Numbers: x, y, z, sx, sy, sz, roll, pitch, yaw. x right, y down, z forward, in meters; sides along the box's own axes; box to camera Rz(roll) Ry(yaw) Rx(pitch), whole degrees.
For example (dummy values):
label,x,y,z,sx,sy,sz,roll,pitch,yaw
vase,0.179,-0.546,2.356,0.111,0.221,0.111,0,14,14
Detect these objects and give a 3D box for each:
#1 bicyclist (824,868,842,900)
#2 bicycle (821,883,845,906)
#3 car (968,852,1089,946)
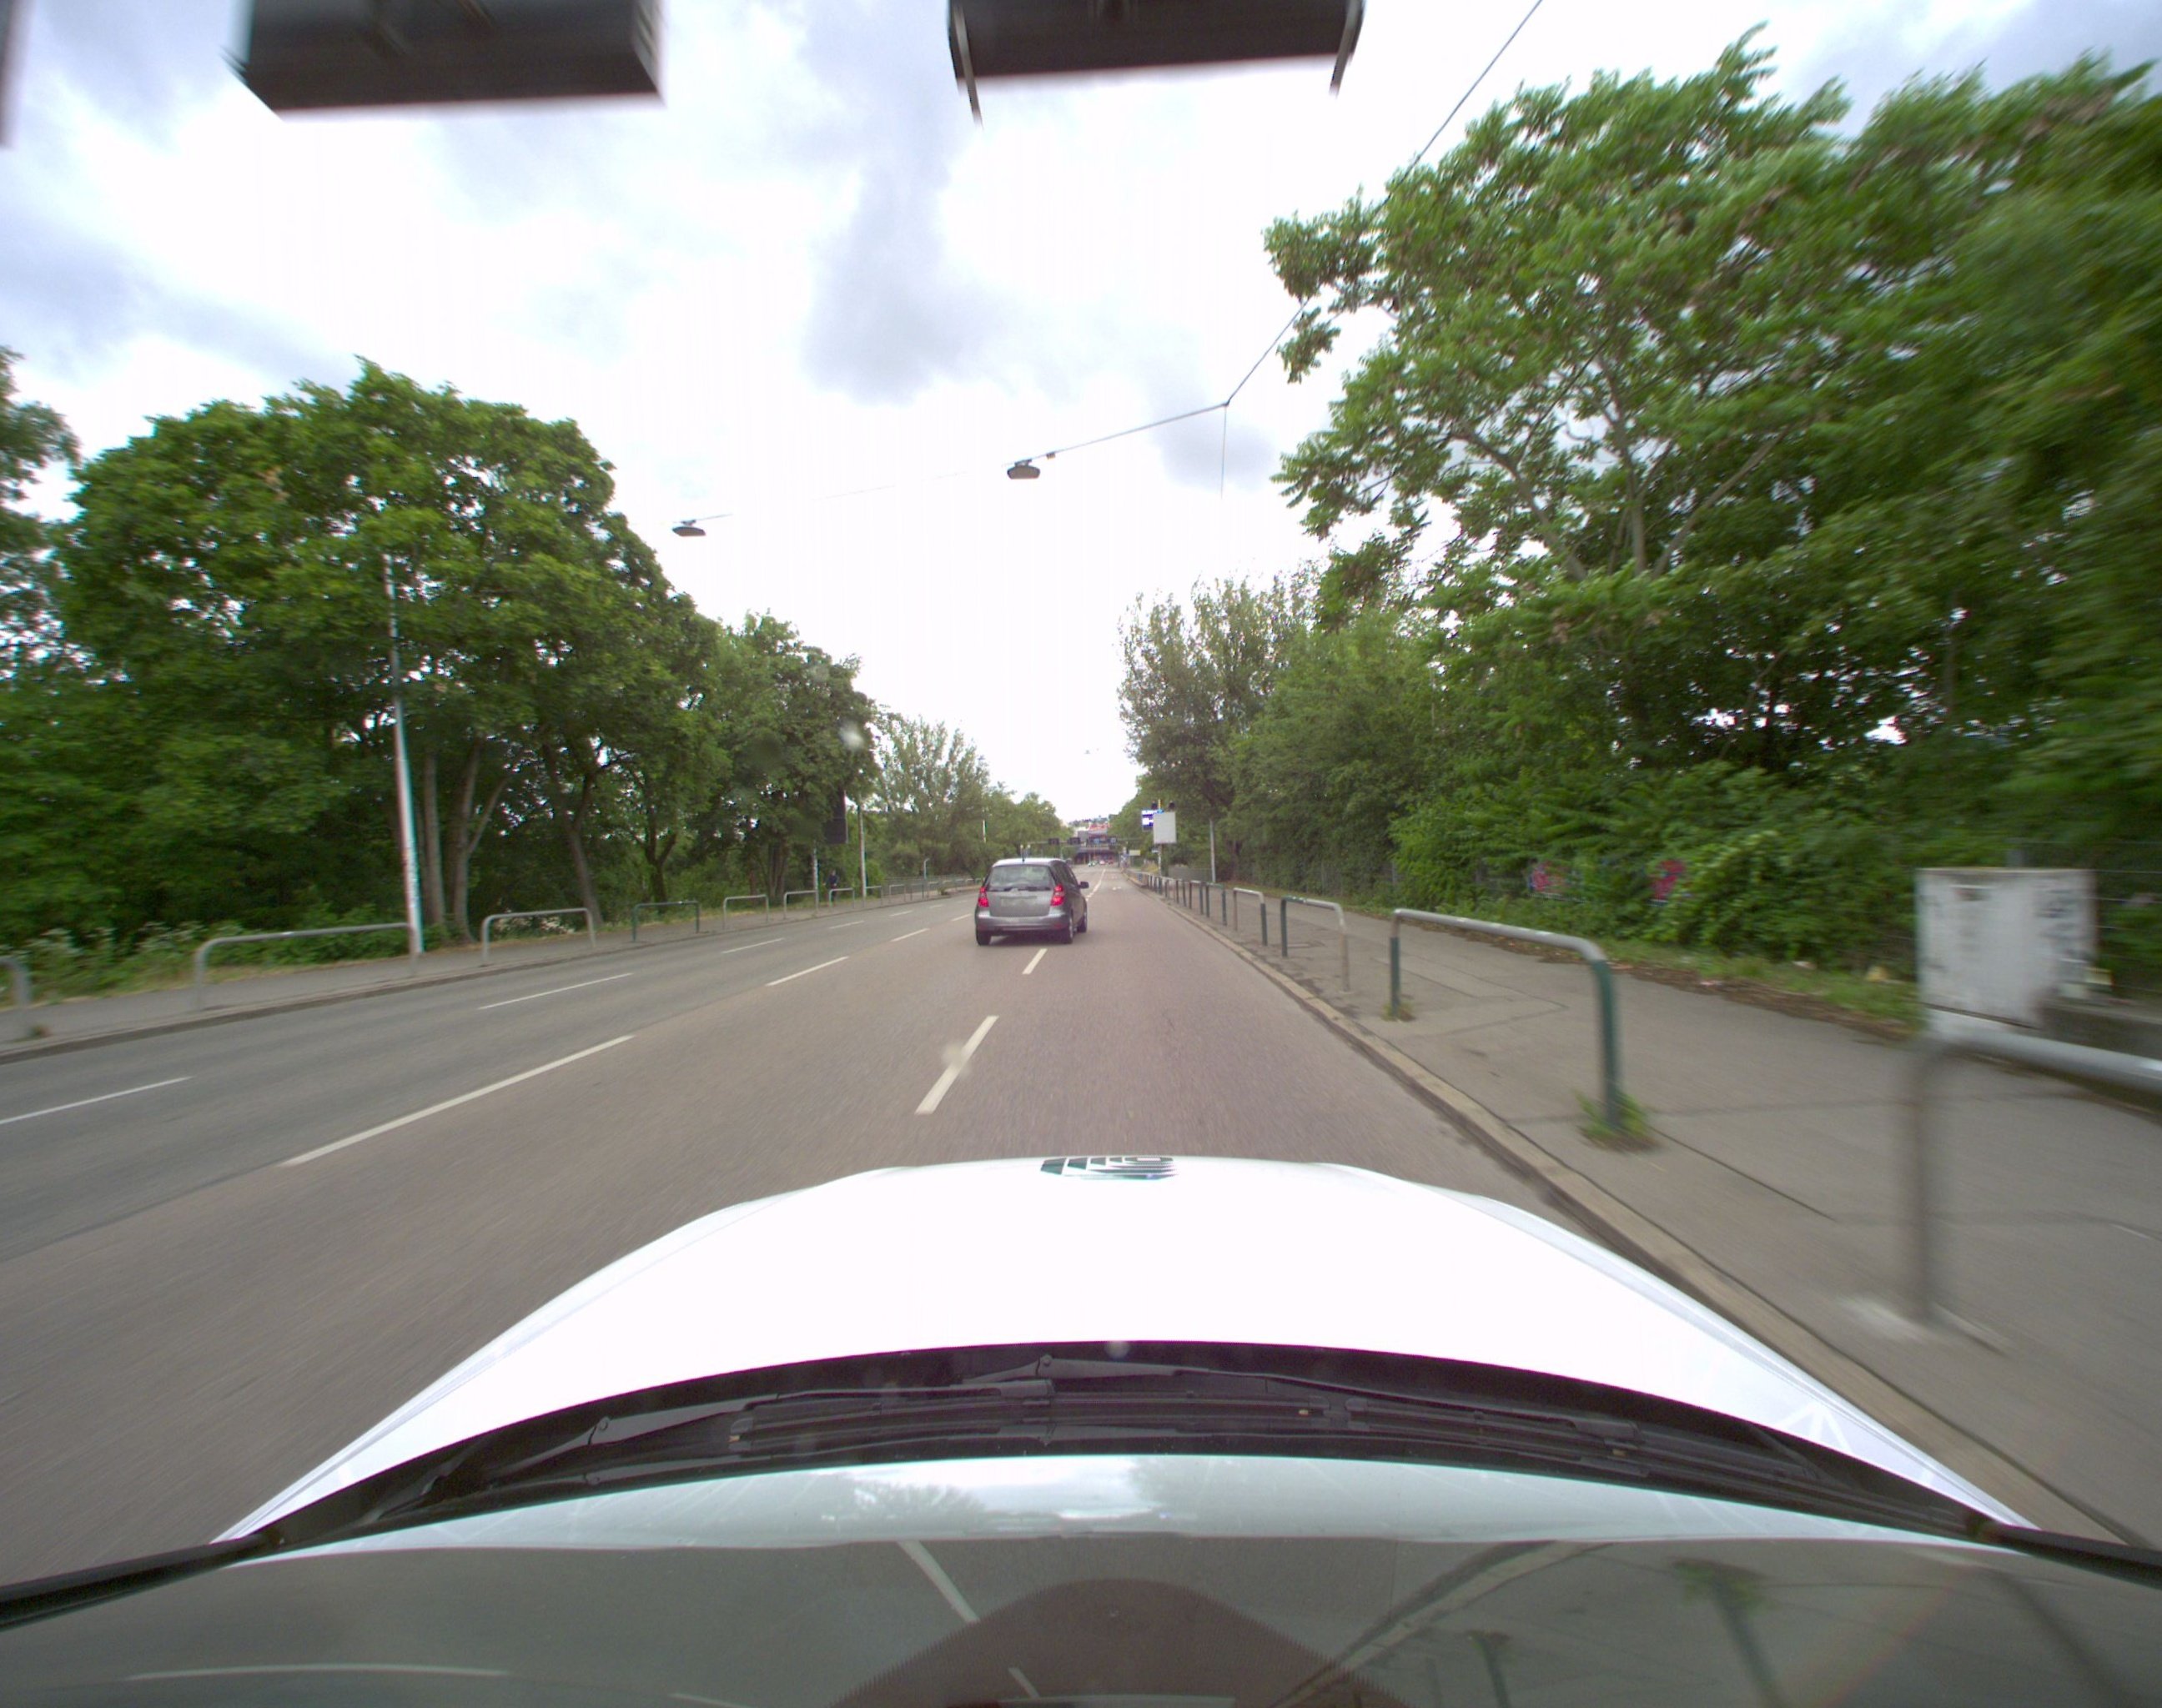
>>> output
label,x,y,z,sx,sy,sz,roll,pitch,yaw
bicyclist,-11.937,1.440,39.192,0.513,1.516,0.984,-3,-1,1
bicycle,-11.920,1.921,39.219,0.483,1.002,2.002,-3,-1,1
car,-0.900,0.817,16.178,1.818,1.616,4.038,-1,-1,4
